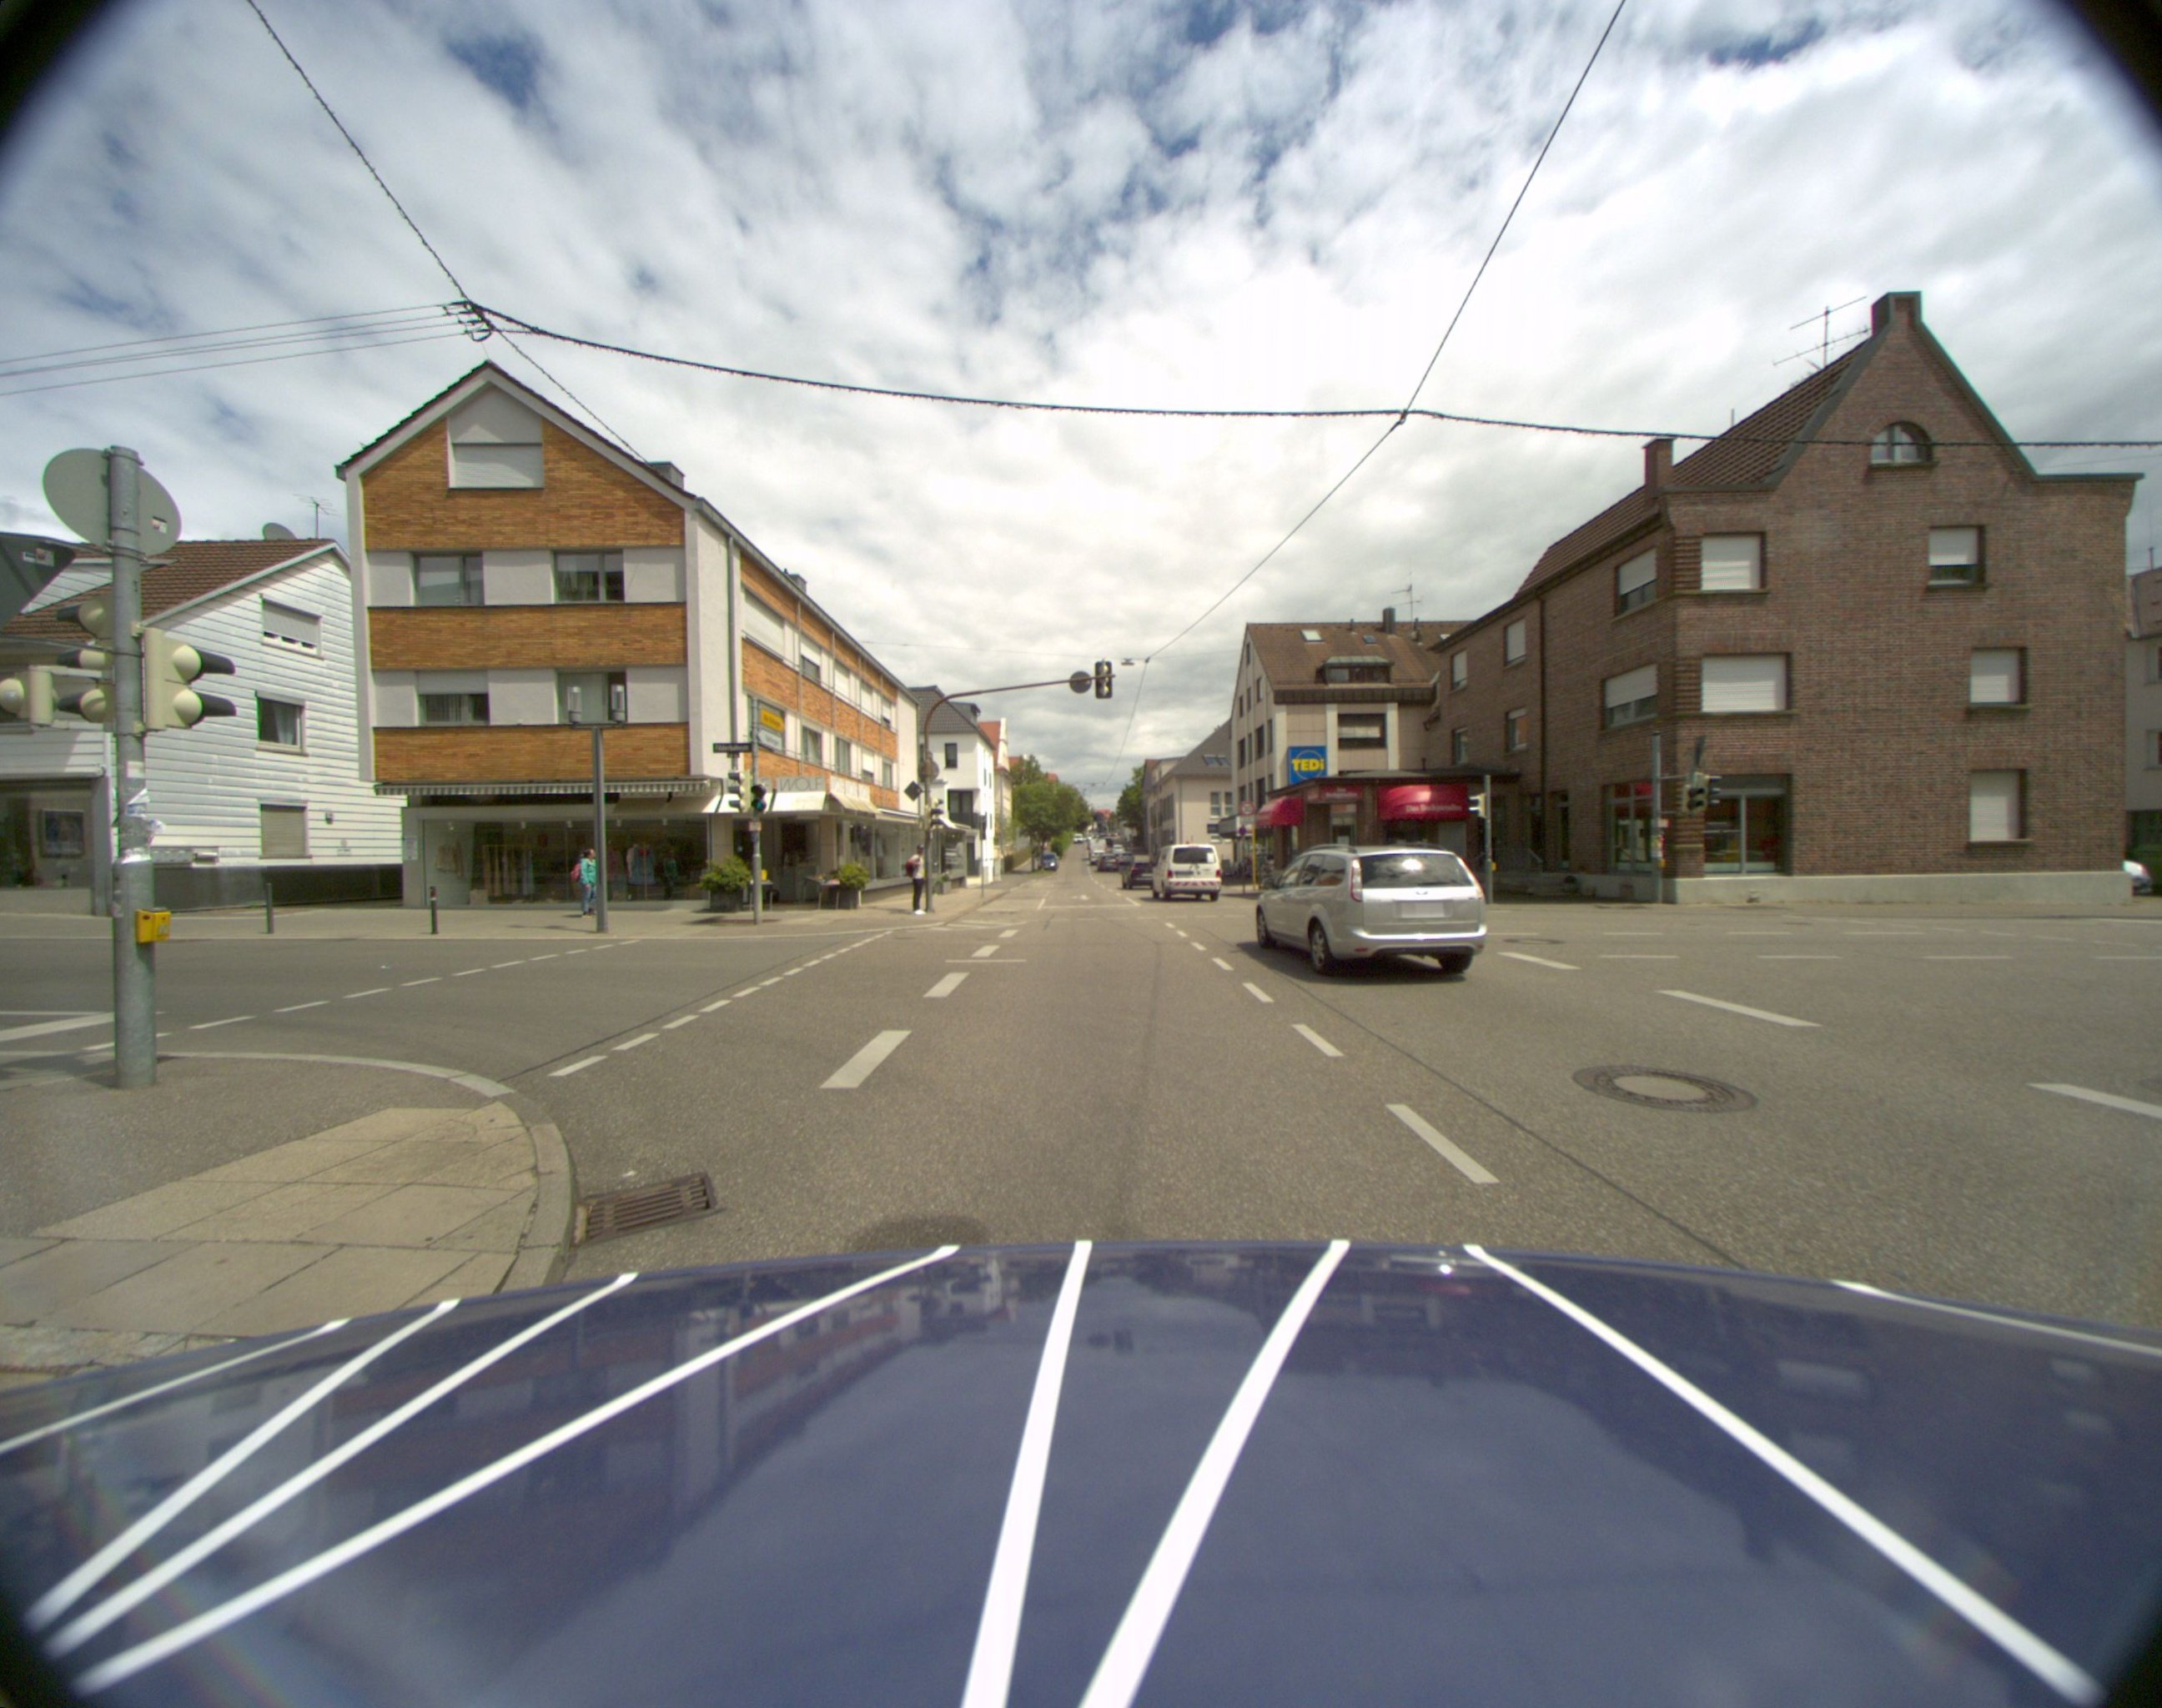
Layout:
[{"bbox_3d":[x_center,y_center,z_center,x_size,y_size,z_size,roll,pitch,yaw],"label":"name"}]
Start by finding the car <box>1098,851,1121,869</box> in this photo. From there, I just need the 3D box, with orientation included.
[{"bbox_3d":[2.610,0.585,69.894,1.794,1.580,4.100,0,-1,-2],"label":"car"}]

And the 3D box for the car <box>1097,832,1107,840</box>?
[{"bbox_3d":[4.842,-4.073,175.287,1.946,1.709,4.596,0,0,-1],"label":"car"}]

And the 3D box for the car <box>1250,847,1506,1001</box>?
[{"bbox_3d":[3.522,0.729,9.906,1.673,1.544,4.215,-1,0,0],"label":"car"}]

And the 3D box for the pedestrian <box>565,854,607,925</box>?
[{"bbox_3d":[-11.073,0.781,17.001,0.589,1.551,0.528,-2,2,-16],"label":"pedestrian"}]

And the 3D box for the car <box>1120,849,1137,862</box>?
[{"bbox_3d":[5.250,0.155,83.929,1.665,1.322,3.472,0,2,0],"label":"car"}]

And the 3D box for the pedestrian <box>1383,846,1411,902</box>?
[{"bbox_3d":[9.631,0.602,23.171,0.525,1.649,0.761,-2,2,-2],"label":"pedestrian"}]

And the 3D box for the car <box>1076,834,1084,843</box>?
[{"bbox_3d":[-0.155,-3.156,152.552,1.673,1.545,3.963,0,3,0],"label":"car"}]

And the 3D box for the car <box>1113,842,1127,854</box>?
[{"bbox_3d":[5.191,-0.786,101.949,1.737,1.480,4.064,0,3,0],"label":"car"}]

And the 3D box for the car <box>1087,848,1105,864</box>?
[{"bbox_3d":[1.655,0.212,83.295,1.785,1.630,4.219,1,0,-1],"label":"car"}]

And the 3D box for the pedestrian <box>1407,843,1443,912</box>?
[{"bbox_3d":[9.190,0.610,20.315,0.627,1.786,0.720,-2,2,-2],"label":"pedestrian"}]

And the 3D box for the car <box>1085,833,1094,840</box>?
[{"bbox_3d":[1.916,-3.973,170.951,1.946,1.605,4.453,0,1,-1],"label":"car"}]

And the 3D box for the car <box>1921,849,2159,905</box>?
[{"bbox_3d":[26.925,0.594,21.589,1.749,1.408,4.000,0,0,1],"label":"car"}]

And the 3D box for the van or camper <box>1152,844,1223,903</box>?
[{"bbox_3d":[3.747,0.670,27.463,1.869,1.886,4.692,-1,-1,0],"label":"van or camper"}]

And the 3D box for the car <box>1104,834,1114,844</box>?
[{"bbox_3d":[4.978,-2.665,135.081,1.673,1.545,3.963,0,3,0],"label":"car"}]

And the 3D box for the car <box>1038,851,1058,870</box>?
[{"bbox_3d":[-3.134,0.606,73.155,1.698,1.733,4.158,-1,1,0],"label":"car"}]

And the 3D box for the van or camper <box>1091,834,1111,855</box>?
[{"bbox_3d":[2.469,-1.126,95.067,2.154,2.541,5.437,0,-1,-2],"label":"van or camper"}]

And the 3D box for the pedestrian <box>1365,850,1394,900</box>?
[{"bbox_3d":[9.075,0.620,23.120,0.525,1.477,0.761,-2,2,-2],"label":"pedestrian"}]

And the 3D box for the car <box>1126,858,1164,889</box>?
[{"bbox_3d":[3.362,1.000,40.455,1.687,1.488,3.967,0,0,0],"label":"car"}]

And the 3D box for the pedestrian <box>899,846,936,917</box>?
[{"bbox_3d":[-4.223,0.704,19.622,0.614,1.804,0.774,3,-1,-32],"label":"pedestrian"}]
